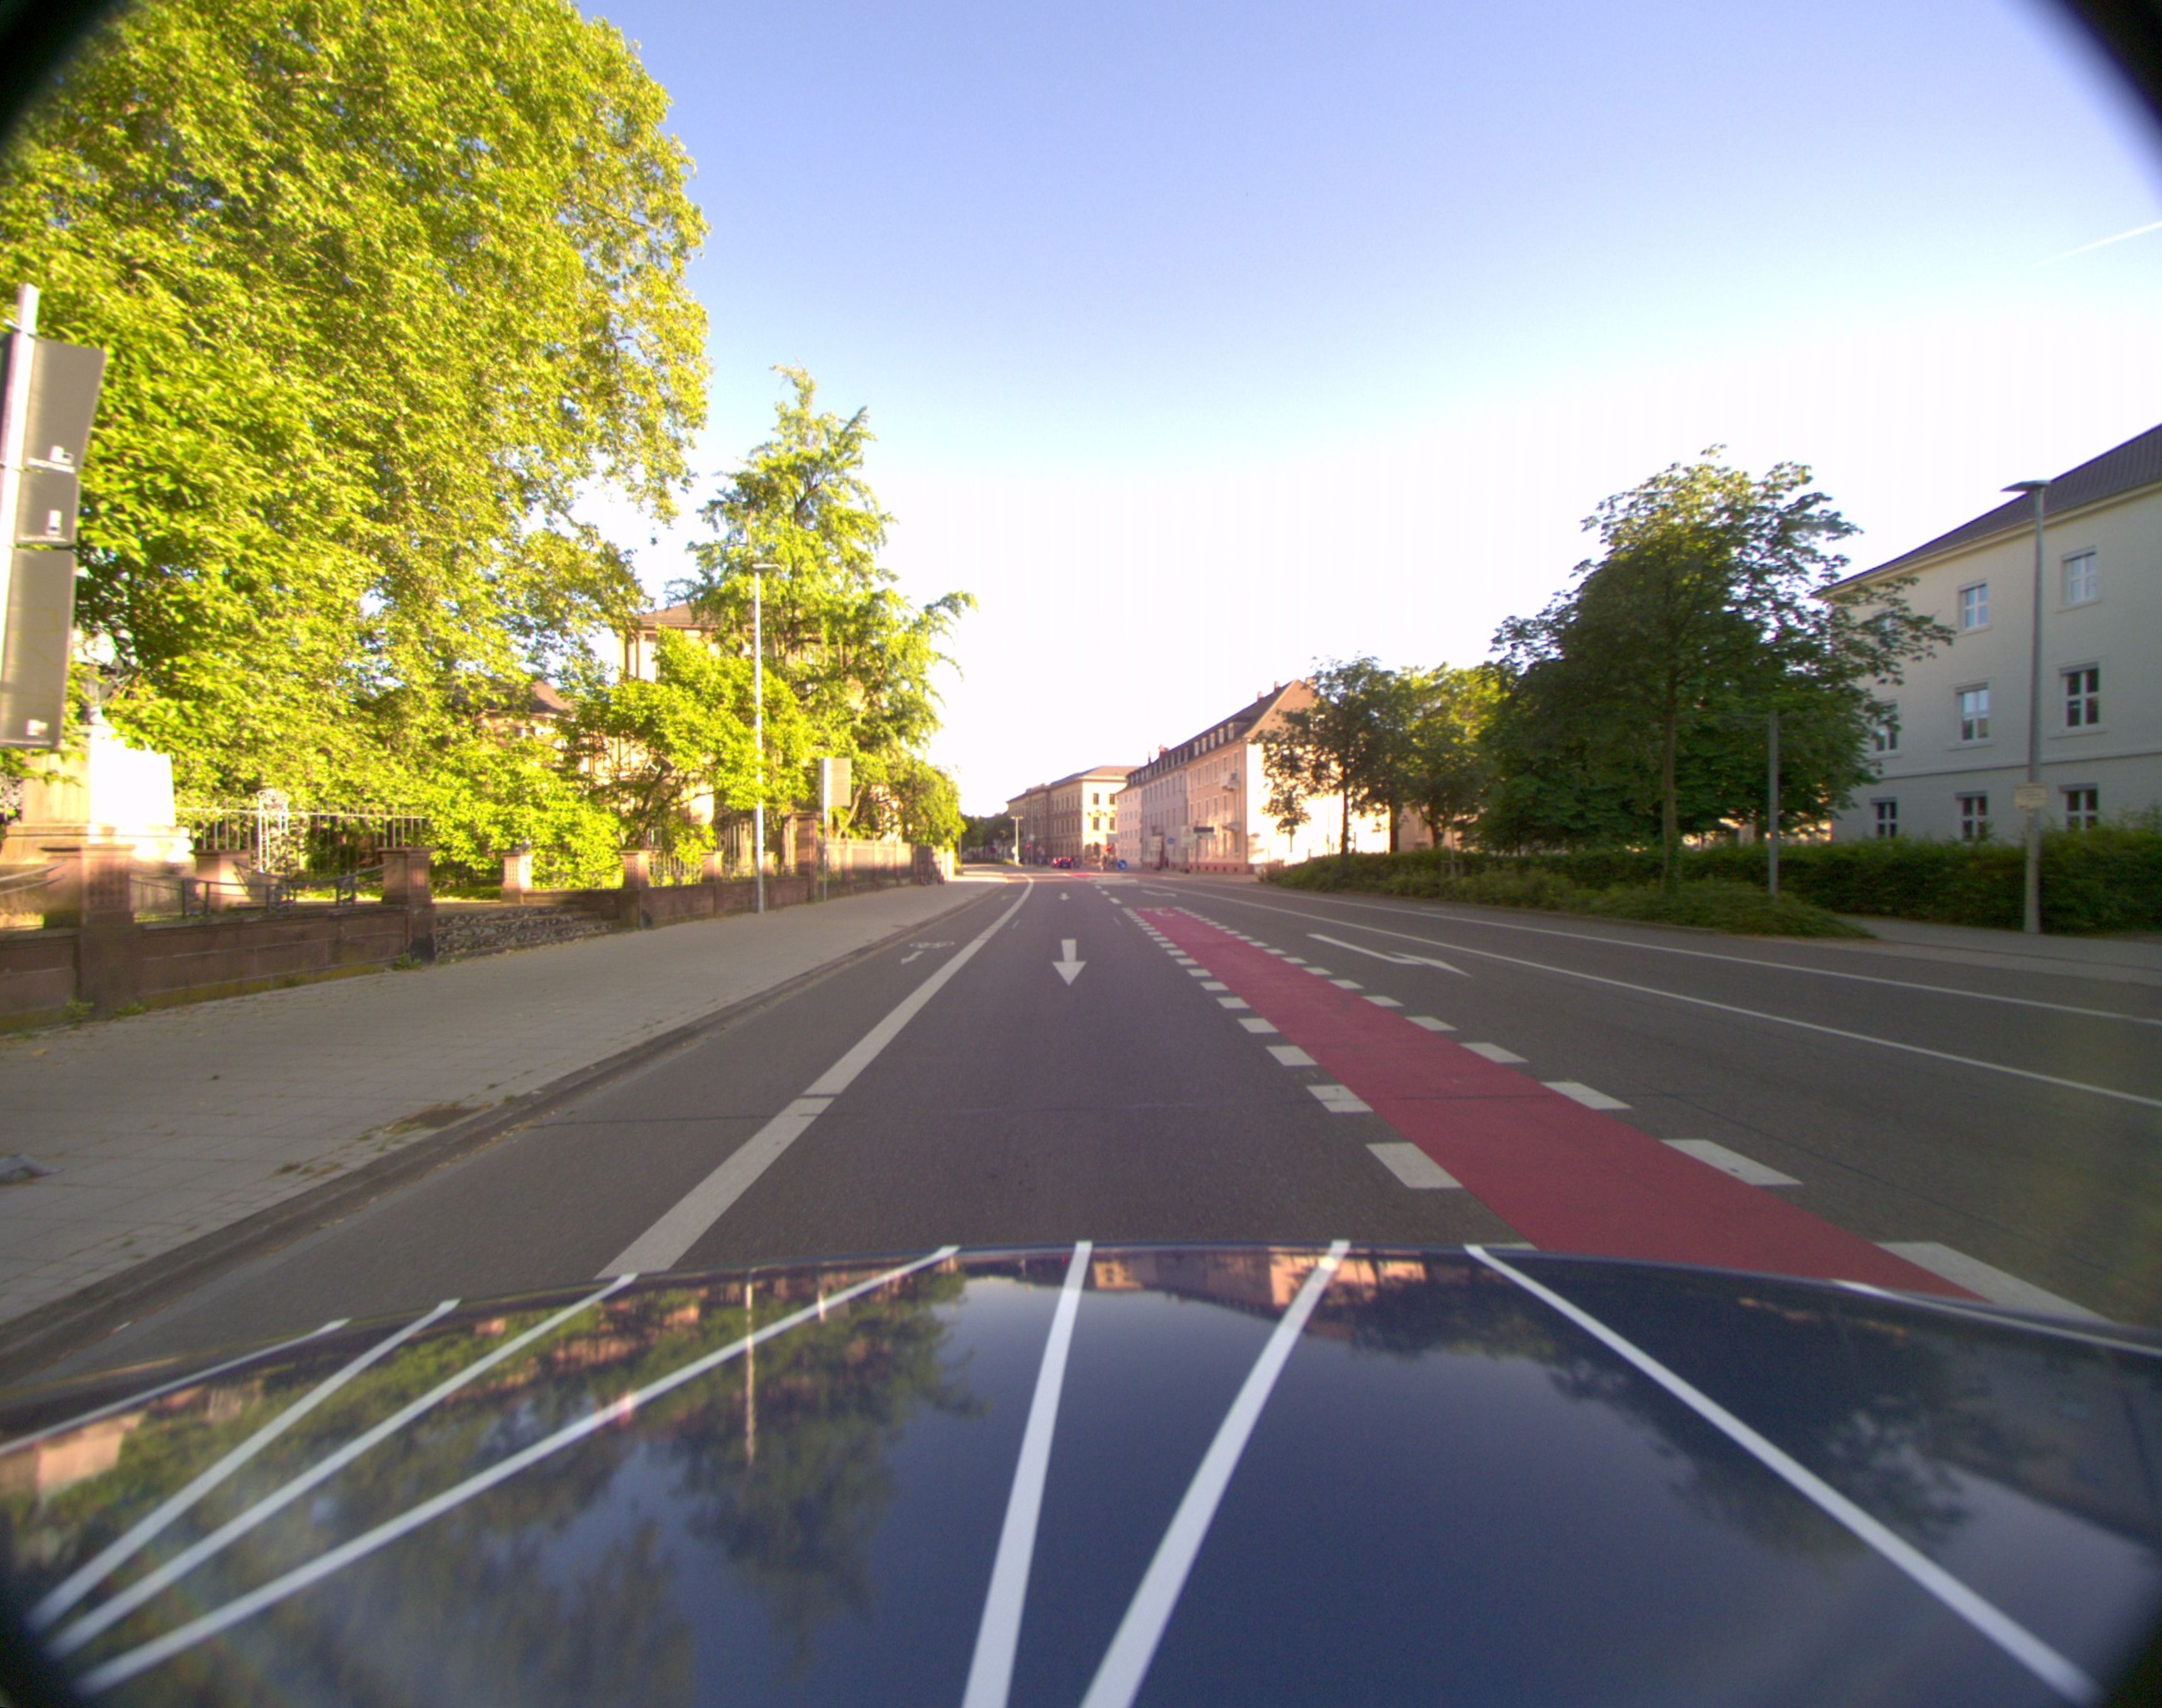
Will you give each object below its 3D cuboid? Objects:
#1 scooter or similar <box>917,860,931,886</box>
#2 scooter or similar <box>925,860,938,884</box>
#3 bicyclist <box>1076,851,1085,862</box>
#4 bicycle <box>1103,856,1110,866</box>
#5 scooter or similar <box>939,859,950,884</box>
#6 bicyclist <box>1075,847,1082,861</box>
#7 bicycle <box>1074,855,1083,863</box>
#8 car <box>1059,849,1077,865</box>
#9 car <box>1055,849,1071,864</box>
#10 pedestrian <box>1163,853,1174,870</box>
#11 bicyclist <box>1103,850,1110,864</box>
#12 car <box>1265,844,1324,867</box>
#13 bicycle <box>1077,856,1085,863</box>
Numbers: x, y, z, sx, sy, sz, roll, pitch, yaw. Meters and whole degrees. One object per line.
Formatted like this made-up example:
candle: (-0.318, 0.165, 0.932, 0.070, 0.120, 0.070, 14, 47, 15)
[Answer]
scooter or similar: (-7.567, 0.911, 36.691, 0.577, 1.246, 1.485, 0, 0, -15)
scooter or similar: (-7.583, 0.916, 38.543, 0.576, 1.177, 1.487, 0, 0, -7)
bicyclist: (-0.084, 0.310, 105.960, 1.026, 1.481, 0.870, 0, 1, -9)
bicycle: (2.990, 0.833, 89.068, 0.697, 1.152, 2.245, 1, 0, -3)
scooter or similar: (-7.112, 0.902, 39.626, 0.517, 1.233, 1.521, 0, 0, -11)
bicyclist: (-0.369, 0.049, 110.617, 0.956, 2.002, 1.307, 0, 1, -9)
bicycle: (-0.404, 0.716, 110.644, 0.956, 1.216, 2.776, 0, 0, -9)
car: (-1.684, 0.359, 98.137, 1.999, 2.002, 3.998, 0, 0, -6)
car: (-2.481, 0.341, 103.859, 1.999, 2.002, 3.998, 0, 0, -5)
pedestrian: (10.020, 0.803, 86.927, 0.949, 1.894, 1.062, -2, 1, -7)
bicyclist: (3.016, 0.372, 88.771, 0.691, 1.553, 0.838, 1, 1, -3)
car: (16.701, 0.109, 59.474, 4.000, 1.652, 1.998, -2, 1, -9)
bicycle: (-0.069, 0.769, 105.874, 0.663, 0.907, 2.861, 0, 0, -9)
